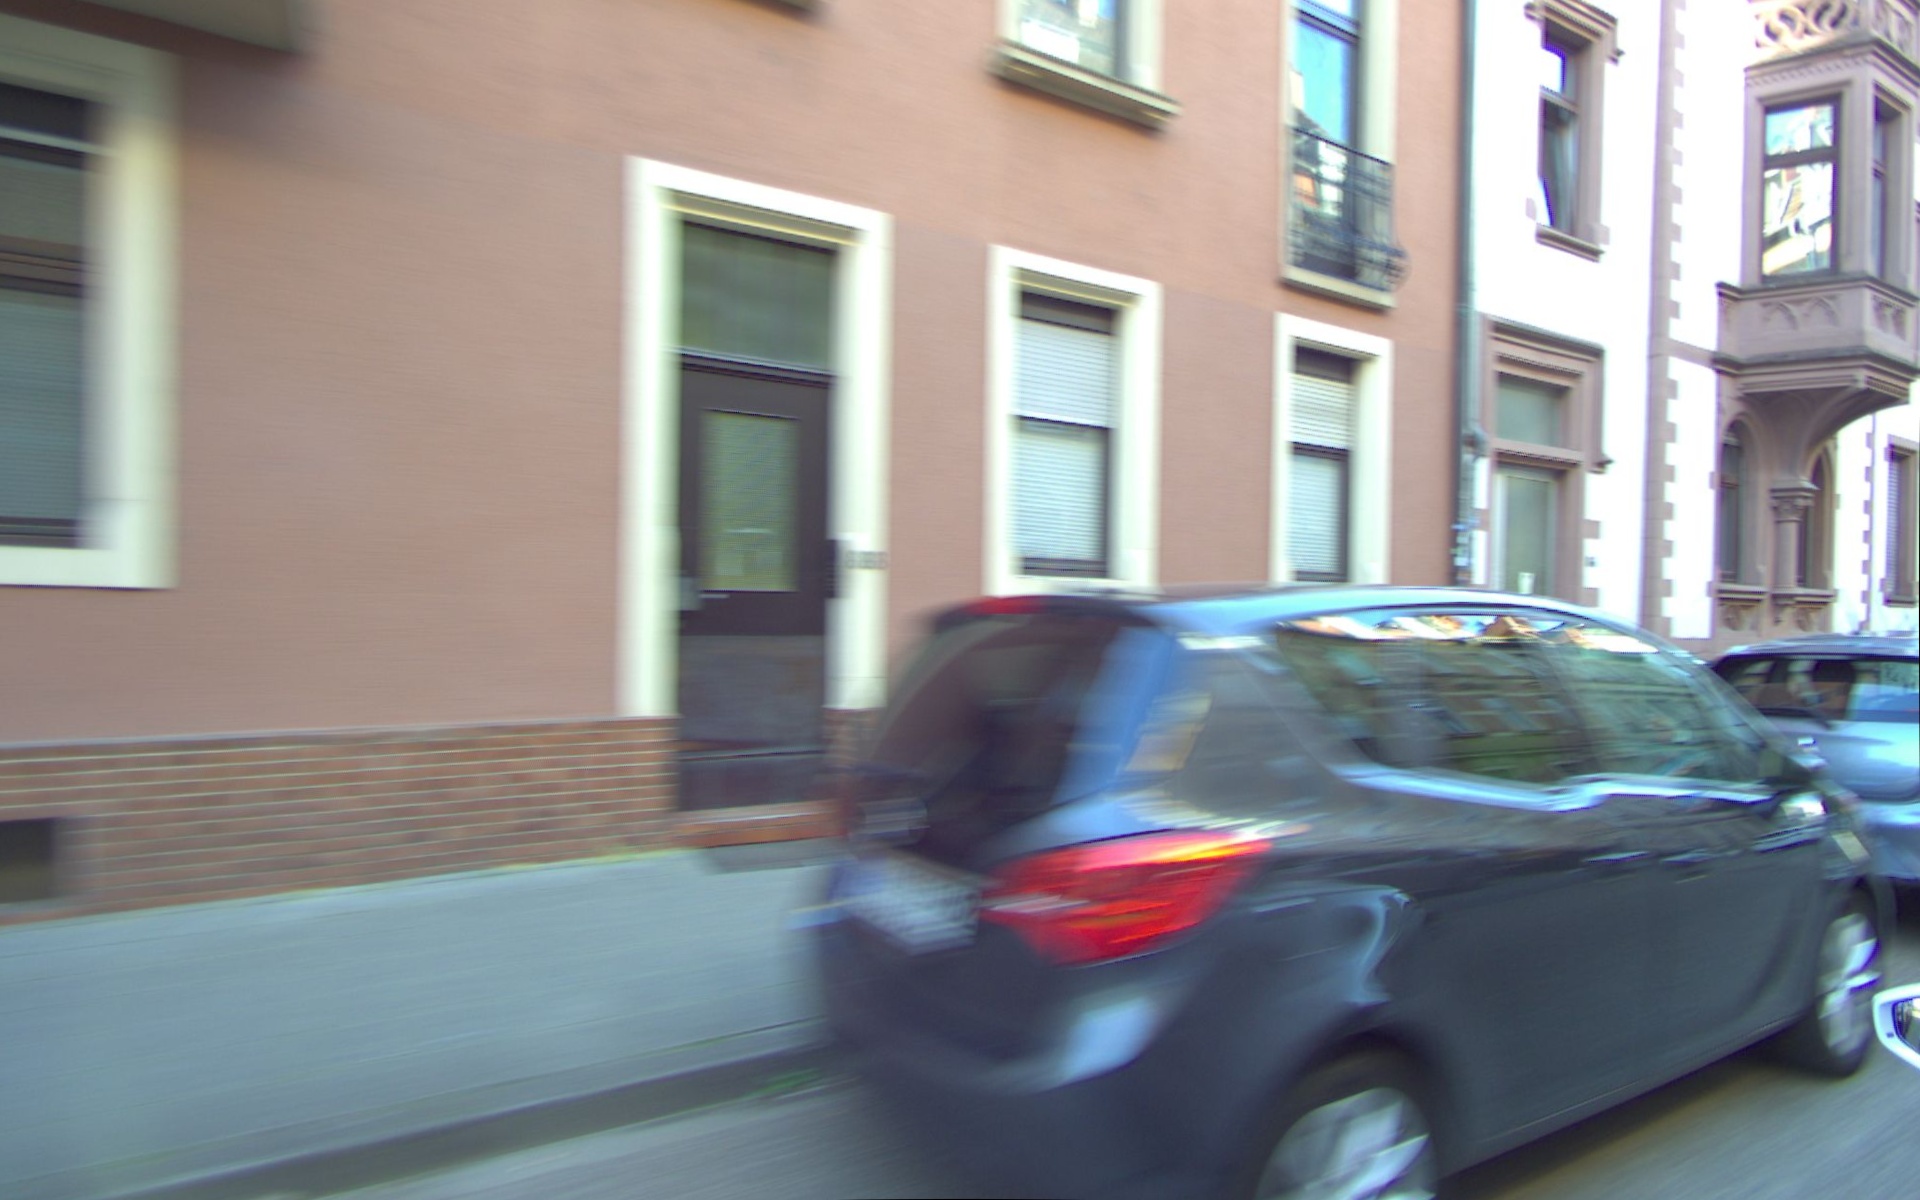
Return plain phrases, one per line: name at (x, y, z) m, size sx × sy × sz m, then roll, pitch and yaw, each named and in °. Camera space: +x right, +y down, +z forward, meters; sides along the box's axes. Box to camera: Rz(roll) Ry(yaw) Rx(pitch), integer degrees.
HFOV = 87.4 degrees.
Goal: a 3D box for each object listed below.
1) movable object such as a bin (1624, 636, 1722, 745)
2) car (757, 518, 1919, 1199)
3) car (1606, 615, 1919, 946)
movable object such as a bin at (7.199, 0.901, 10.155) m, size 0.550 × 1.040 × 0.551 m, roll 1°, pitch 1°, yaw -15°
car at (1.536, 0.716, 3.447) m, size 4.024 × 1.627 × 1.771 m, roll 1°, pitch 0°, yaw -32°
car at (5.765, 0.869, 5.937) m, size 3.873 × 1.493 × 1.686 m, roll 1°, pitch -3°, yaw -30°
